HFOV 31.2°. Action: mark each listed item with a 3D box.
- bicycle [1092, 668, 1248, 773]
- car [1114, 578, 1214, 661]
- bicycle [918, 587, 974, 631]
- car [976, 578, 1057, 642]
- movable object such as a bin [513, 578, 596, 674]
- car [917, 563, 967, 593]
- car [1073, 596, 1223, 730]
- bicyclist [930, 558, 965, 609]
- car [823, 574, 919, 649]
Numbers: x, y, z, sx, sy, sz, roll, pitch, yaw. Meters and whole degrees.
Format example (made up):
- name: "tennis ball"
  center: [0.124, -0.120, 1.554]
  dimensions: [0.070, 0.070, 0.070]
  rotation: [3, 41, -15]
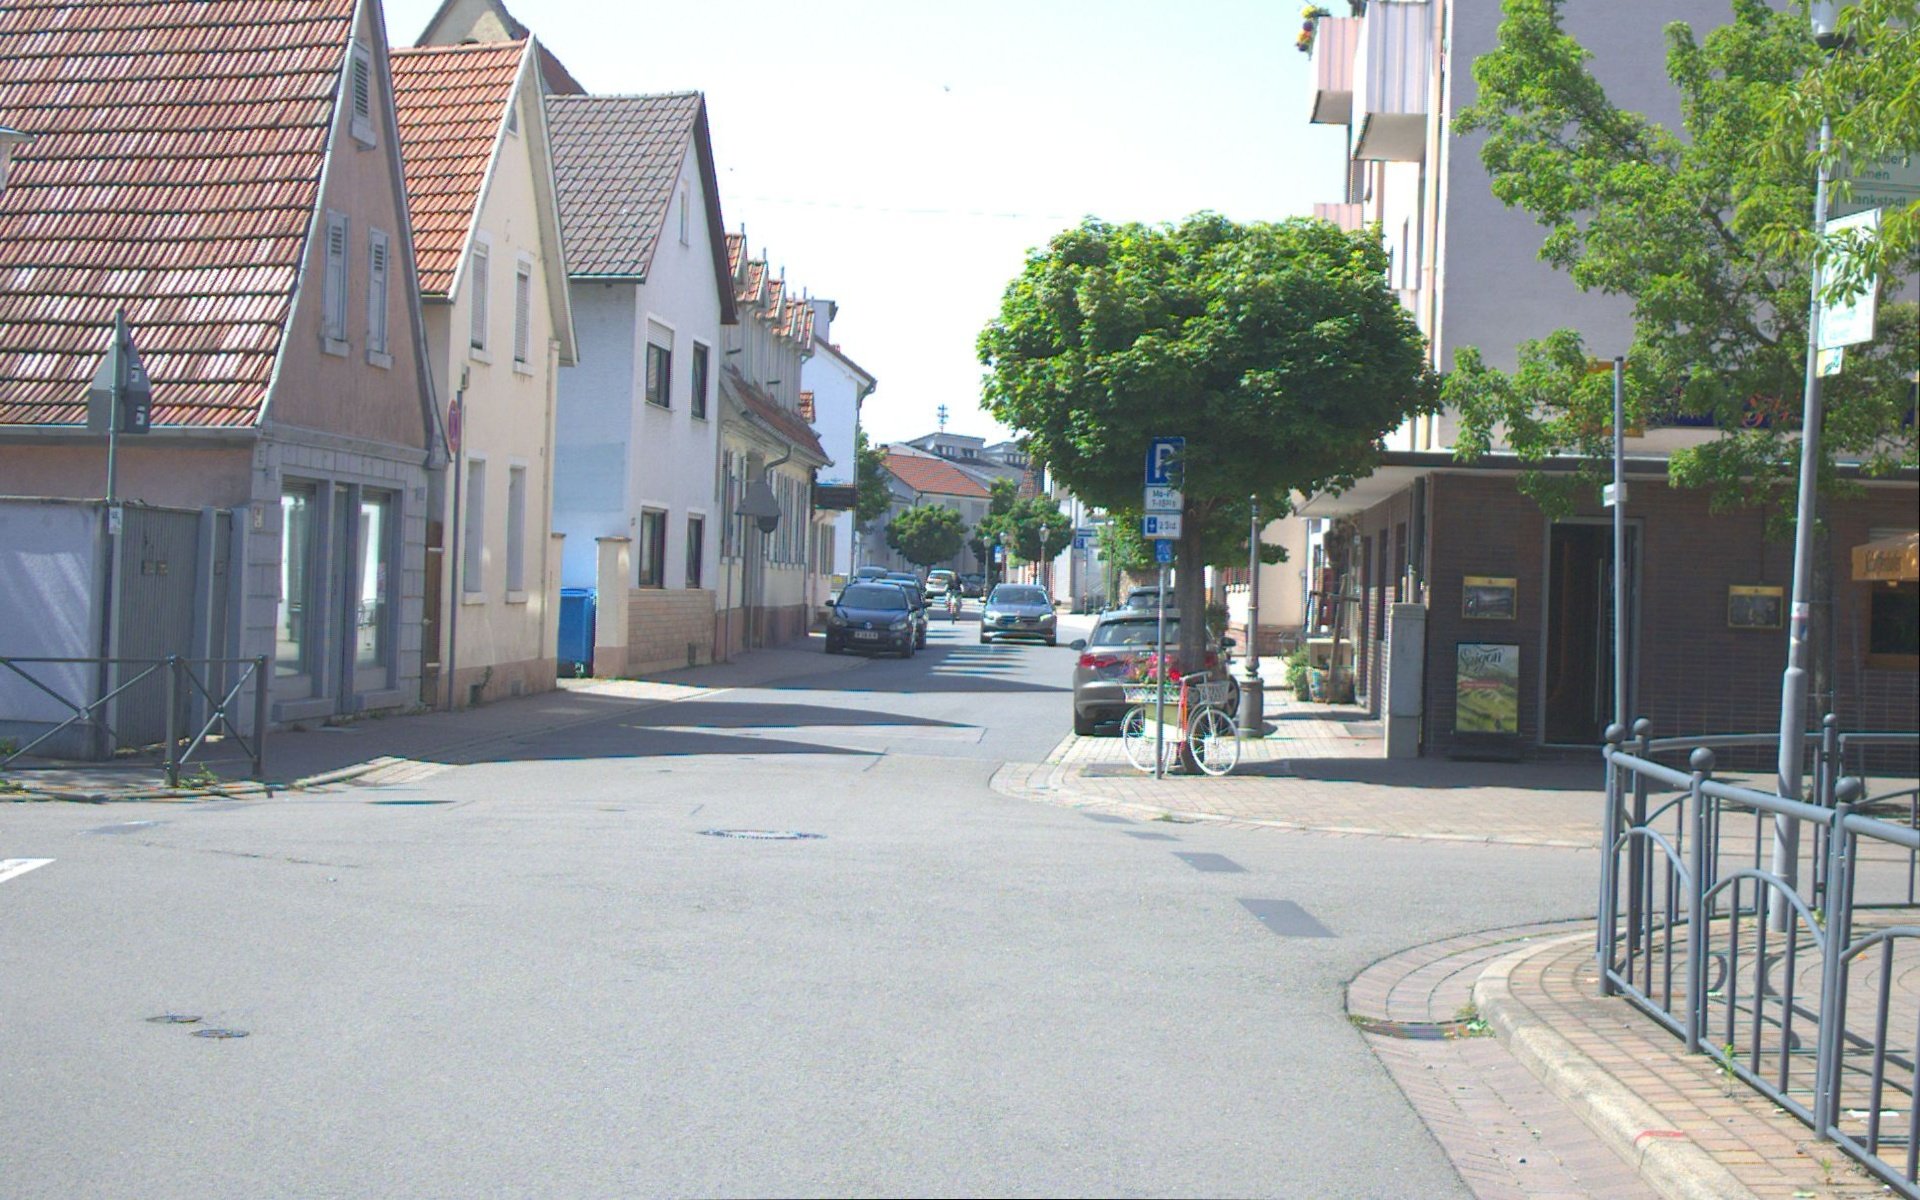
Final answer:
- name: "bicycle"
  center: [1.902, 1.085, 31.205]
  dimensions: [1.413, 0.894, 0.464]
  rotation: [1, 1, 40]
- name: "car"
  center: [4.360, 0.386, 73.623]
  dimensions: [2.043, 1.683, 4.841]
  rotation: [1, 0, 3]
- name: "bicycle"
  center: [-0.477, 0.289, 112.494]
  dimensions: [1.623, 1.366, 3.926]
  rotation: [1, 0, -3]
- name: "car"
  center: [1.417, 0.257, 84.813]
  dimensions: [1.909, 1.476, 4.844]
  rotation: [1, 0, 1]
- name: "movable object such as a bin"
  center: [-5.894, 0.371, 49.977]
  dimensions: [1.102, 1.361, 0.389]
  rotation: [1, 0, 7]
- name: "car"
  center: [-0.989, -1.231, 191.659]
  dimensions: [2.028, 1.592, 4.507]
  rotation: [1, 0, 9]
- name: "car"
  center: [2.213, 0.696, 39.827]
  dimensions: [1.576, 1.449, 3.485]
  rotation: [1, 0, 5]
- name: "bicyclist"
  center: [-0.414, -0.549, 112.613]
  dimensions: [1.046, 1.632, 1.128]
  rotation: [1, 0, -2]
- name: "car"
  center: [-1.816, 0.221, 71.168]
  dimensions: [1.663, 1.471, 4.134]
  rotation: [1, 0, 3]
